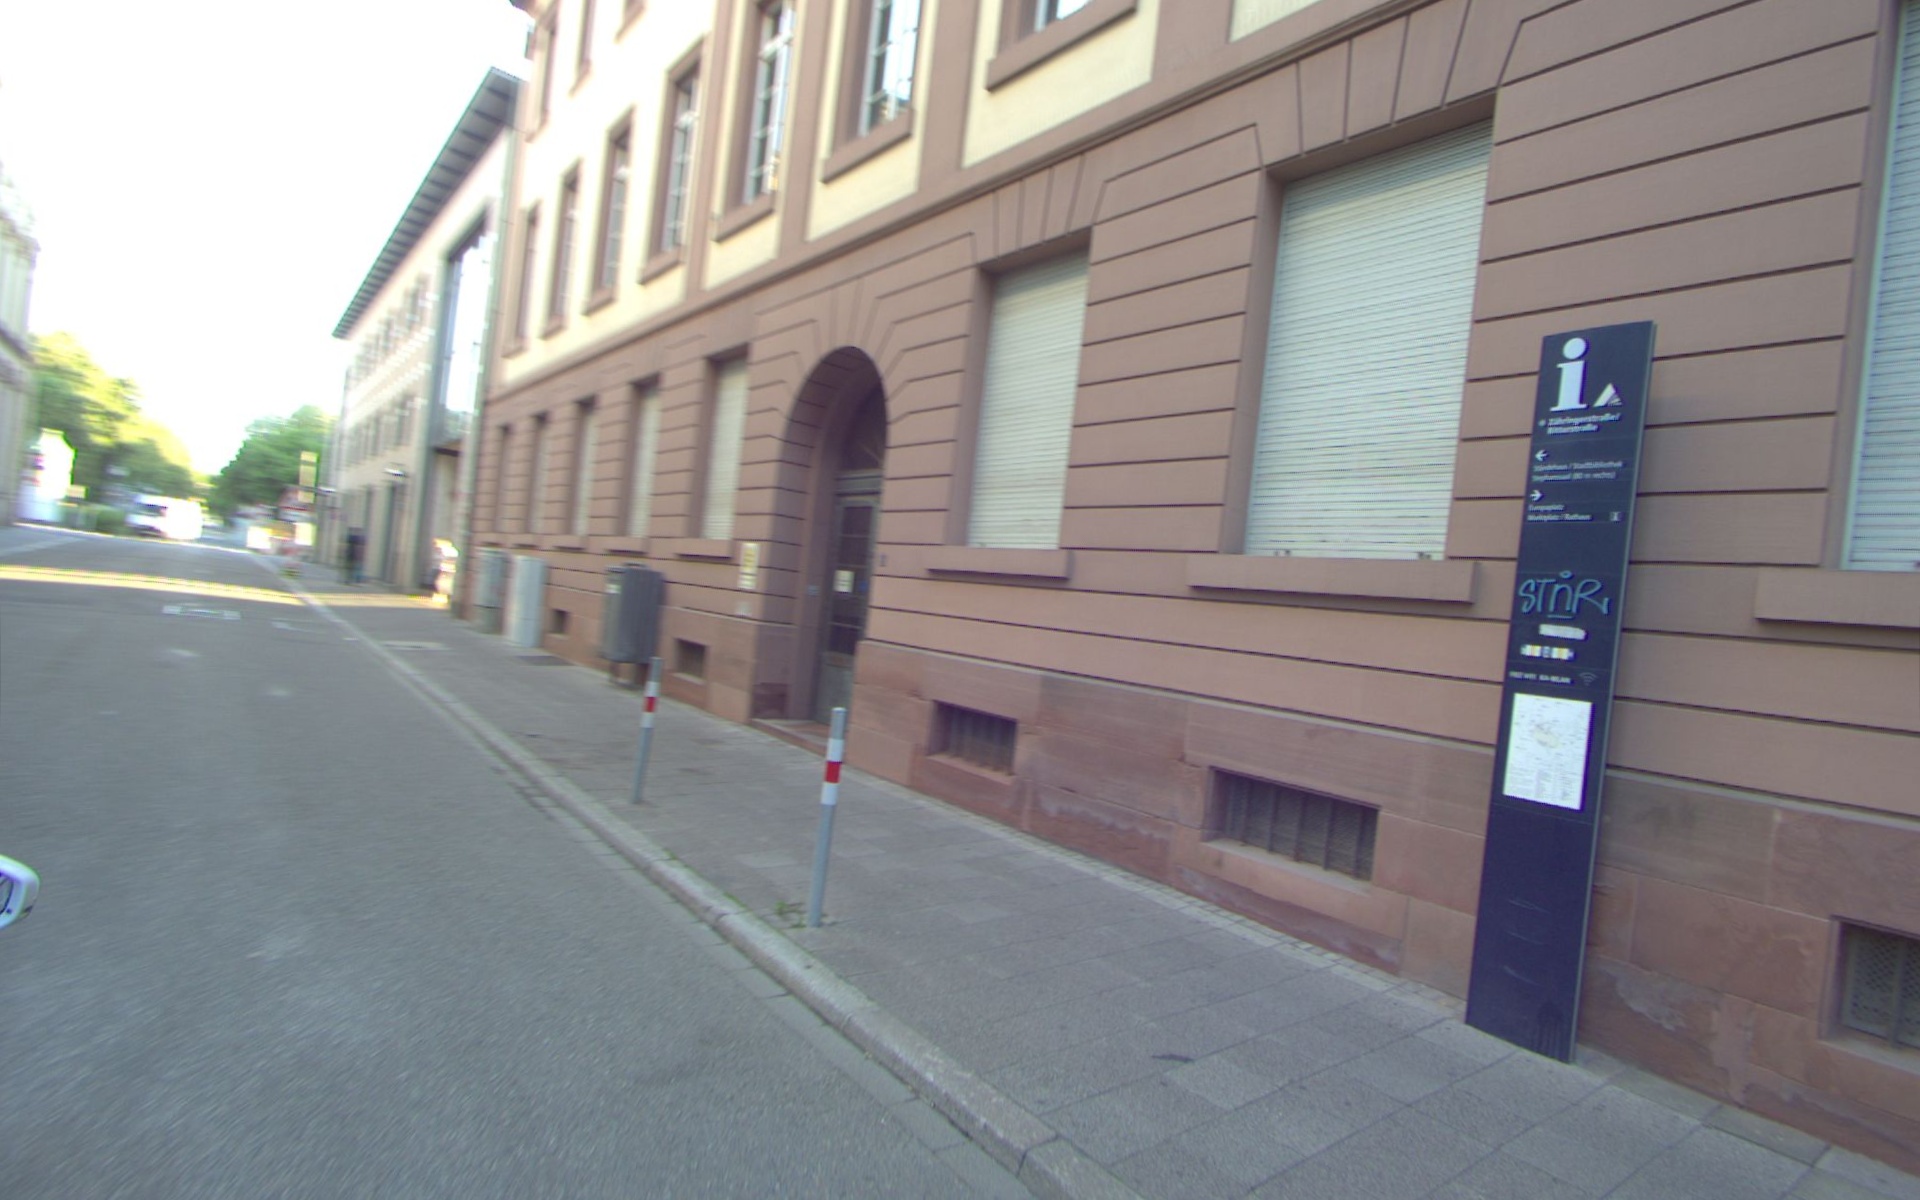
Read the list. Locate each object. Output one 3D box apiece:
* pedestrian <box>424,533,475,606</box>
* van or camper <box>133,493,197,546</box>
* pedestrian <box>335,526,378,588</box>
[{"bbox_3d":[-13.572,-0.808,26.766,0.837,1.827,0.891,6,2,42],"label":"pedestrian"},{"bbox_3d":[-46.063,-4.624,58.410,2.206,2.616,6.313,7,0,-34],"label":"van or camper"},{"bbox_3d":[-18.483,-1.318,30.821,0.994,1.828,0.873,1,3,-38],"label":"pedestrian"}]
